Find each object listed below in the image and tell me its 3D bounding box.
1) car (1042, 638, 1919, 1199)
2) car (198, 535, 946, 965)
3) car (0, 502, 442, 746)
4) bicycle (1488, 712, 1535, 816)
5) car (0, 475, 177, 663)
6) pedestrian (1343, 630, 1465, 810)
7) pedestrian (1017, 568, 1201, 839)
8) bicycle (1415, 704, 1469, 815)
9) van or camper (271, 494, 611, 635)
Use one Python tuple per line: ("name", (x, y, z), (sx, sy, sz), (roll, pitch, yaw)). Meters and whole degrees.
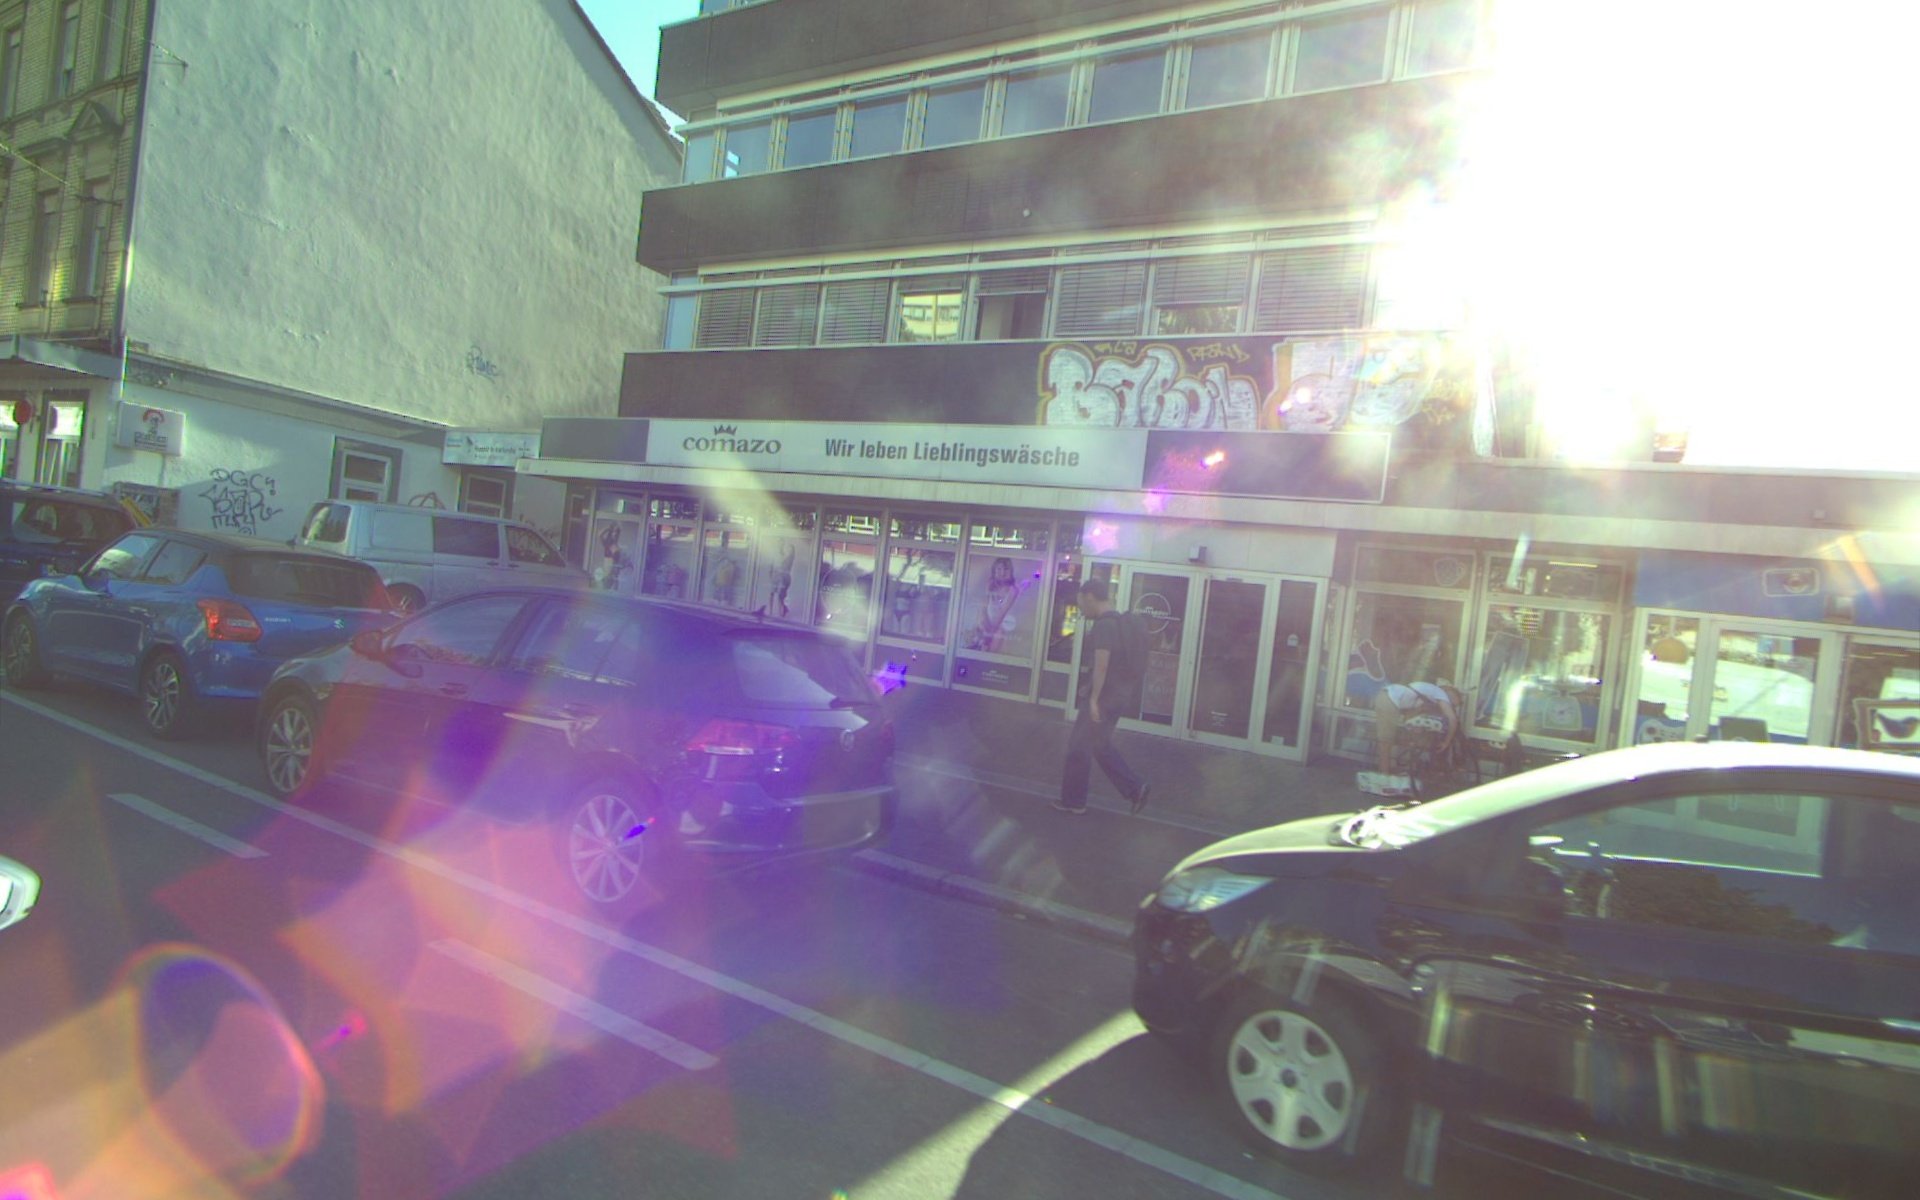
("car", (2.252, 1.115, 3.225), (3.498, 1.500, 1.575), (6, -2, 30))
("car", (-2.364, 0.620, 5.838), (4.155, 1.500, 1.702), (6, -2, 30))
("car", (-6.312, 0.151, 8.360), (3.714, 1.471, 1.718), (6, -2, 30))
("bicycle", (5.913, 1.719, 10.772), (0.334, 0.933, 1.573), (6, 0, 30))
("car", (-10.951, -0.499, 10.984), (4.532, 1.733, 1.696), (7, -2, 24))
("pedestrian", (4.642, 1.197, 10.497), (0.901, 1.671, 1.009), (6, 4, 31))
("pedestrian", (1.178, 0.780, 7.940), (1.046, 1.933, 0.685), (6, -2, 33))
("bicycle", (5.092, 1.641, 10.594), (0.334, 0.934, 1.571), (6, 2, 30))
("van or camper", (-8.612, -0.503, 17.130), (1.968, 1.959, 4.690), (7, 2, 34))
